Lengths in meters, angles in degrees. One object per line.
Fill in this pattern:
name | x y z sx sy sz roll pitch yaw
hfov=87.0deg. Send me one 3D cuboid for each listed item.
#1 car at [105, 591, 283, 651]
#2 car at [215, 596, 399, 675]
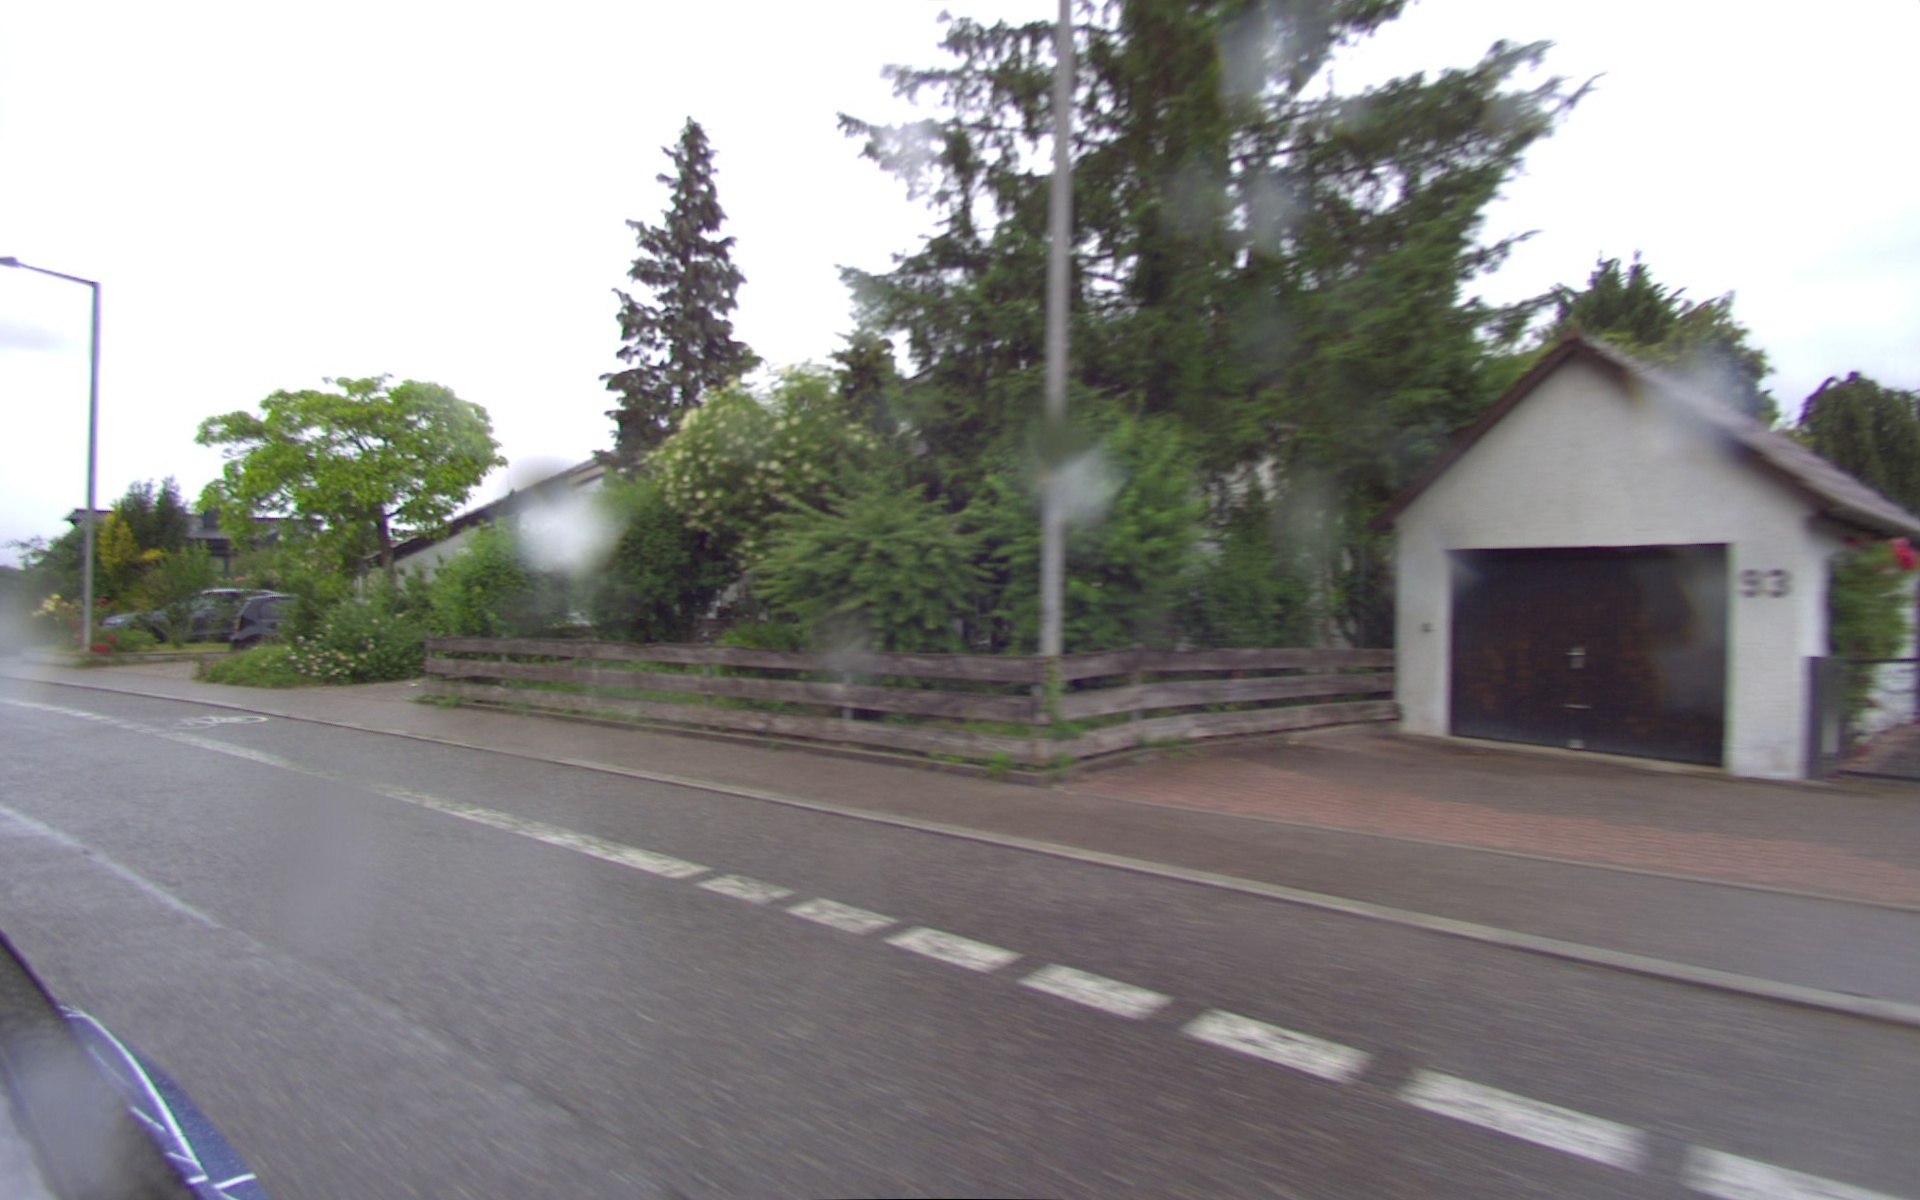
car | -20.159 0.542 26.784 3.681 1.491 1.458 0 -1 -37
car | -13.069 0.686 20.450 2.988 1.491 1.459 0 -1 -27
